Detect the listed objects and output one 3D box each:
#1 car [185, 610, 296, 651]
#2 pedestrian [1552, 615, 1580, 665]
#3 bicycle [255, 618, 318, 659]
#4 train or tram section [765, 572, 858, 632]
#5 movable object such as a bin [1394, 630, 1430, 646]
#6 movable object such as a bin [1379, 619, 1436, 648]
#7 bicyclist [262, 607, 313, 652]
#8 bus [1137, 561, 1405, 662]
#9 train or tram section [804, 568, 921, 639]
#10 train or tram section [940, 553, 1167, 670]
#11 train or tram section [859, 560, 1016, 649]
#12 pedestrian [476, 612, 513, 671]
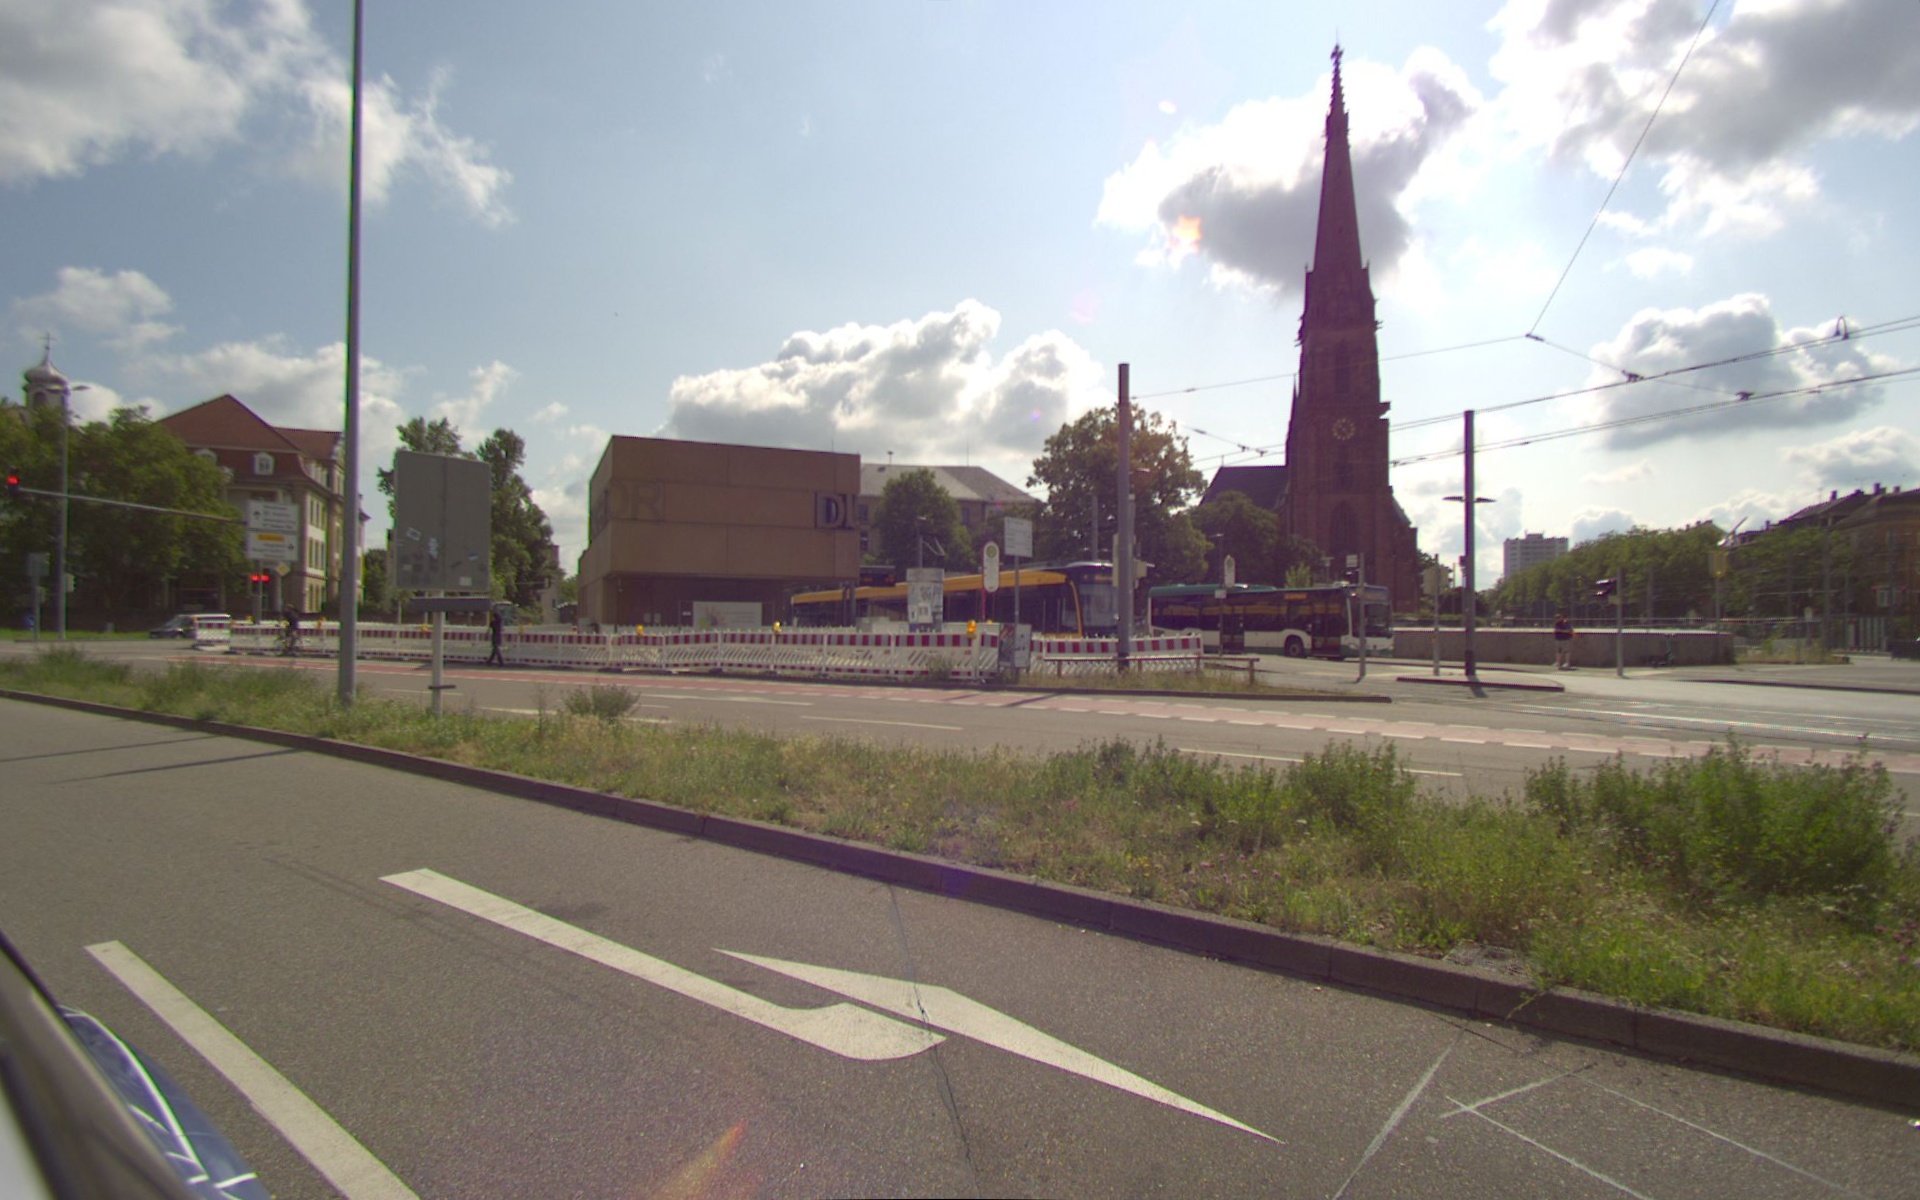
[{"bbox_3d":[-32.607,1.371,46.019,3.932,1.796,2.006,1,-2,-31],"label":"car"},{"bbox_3d":[22.145,1.442,36.988,0.708,1.808,0.564,1,-2,-24],"label":"pedestrian"},{"bbox_3d":[-24.292,1.381,36.520,2.284,1.421,0.963,-1,-2,30],"label":"bicycle"},{"bbox_3d":[-9.768,0.103,65.117,3.266,3.507,10.644,0,0,-23],"label":"train or tram section"},{"bbox_3d":[43.456,3.668,97.374,1.978,1.514,5.138,0,-2,10],"label":"movable object such as a bin"},{"bbox_3d":[46.490,3.479,105.201,5.109,2.934,1.989,0,-2,17],"label":"movable object such as a bin"},{"bbox_3d":[-24.291,1.053,36.544,1.768,1.575,0.770,-1,-2,29],"label":"bicyclist"},{"bbox_3d":[12.507,0.596,42.774,2.865,3.648,12.416,1,-2,-28],"label":"bus"},{"bbox_3d":[-5.547,0.132,55.252,3.266,3.507,10.644,0,0,-23],"label":"train or tram section"},{"bbox_3d":[2.806,0.316,35.642,3.266,3.507,10.644,0,0,-23],"label":"train or tram section"},{"bbox_3d":[-1.339,0.161,45.422,3.266,3.507,10.644,0,0,-23],"label":"train or tram section"},{"bbox_3d":[-14.359,1.265,31.217,1.000,1.777,0.645,-1,-2,38],"label":"pedestrian"}]
